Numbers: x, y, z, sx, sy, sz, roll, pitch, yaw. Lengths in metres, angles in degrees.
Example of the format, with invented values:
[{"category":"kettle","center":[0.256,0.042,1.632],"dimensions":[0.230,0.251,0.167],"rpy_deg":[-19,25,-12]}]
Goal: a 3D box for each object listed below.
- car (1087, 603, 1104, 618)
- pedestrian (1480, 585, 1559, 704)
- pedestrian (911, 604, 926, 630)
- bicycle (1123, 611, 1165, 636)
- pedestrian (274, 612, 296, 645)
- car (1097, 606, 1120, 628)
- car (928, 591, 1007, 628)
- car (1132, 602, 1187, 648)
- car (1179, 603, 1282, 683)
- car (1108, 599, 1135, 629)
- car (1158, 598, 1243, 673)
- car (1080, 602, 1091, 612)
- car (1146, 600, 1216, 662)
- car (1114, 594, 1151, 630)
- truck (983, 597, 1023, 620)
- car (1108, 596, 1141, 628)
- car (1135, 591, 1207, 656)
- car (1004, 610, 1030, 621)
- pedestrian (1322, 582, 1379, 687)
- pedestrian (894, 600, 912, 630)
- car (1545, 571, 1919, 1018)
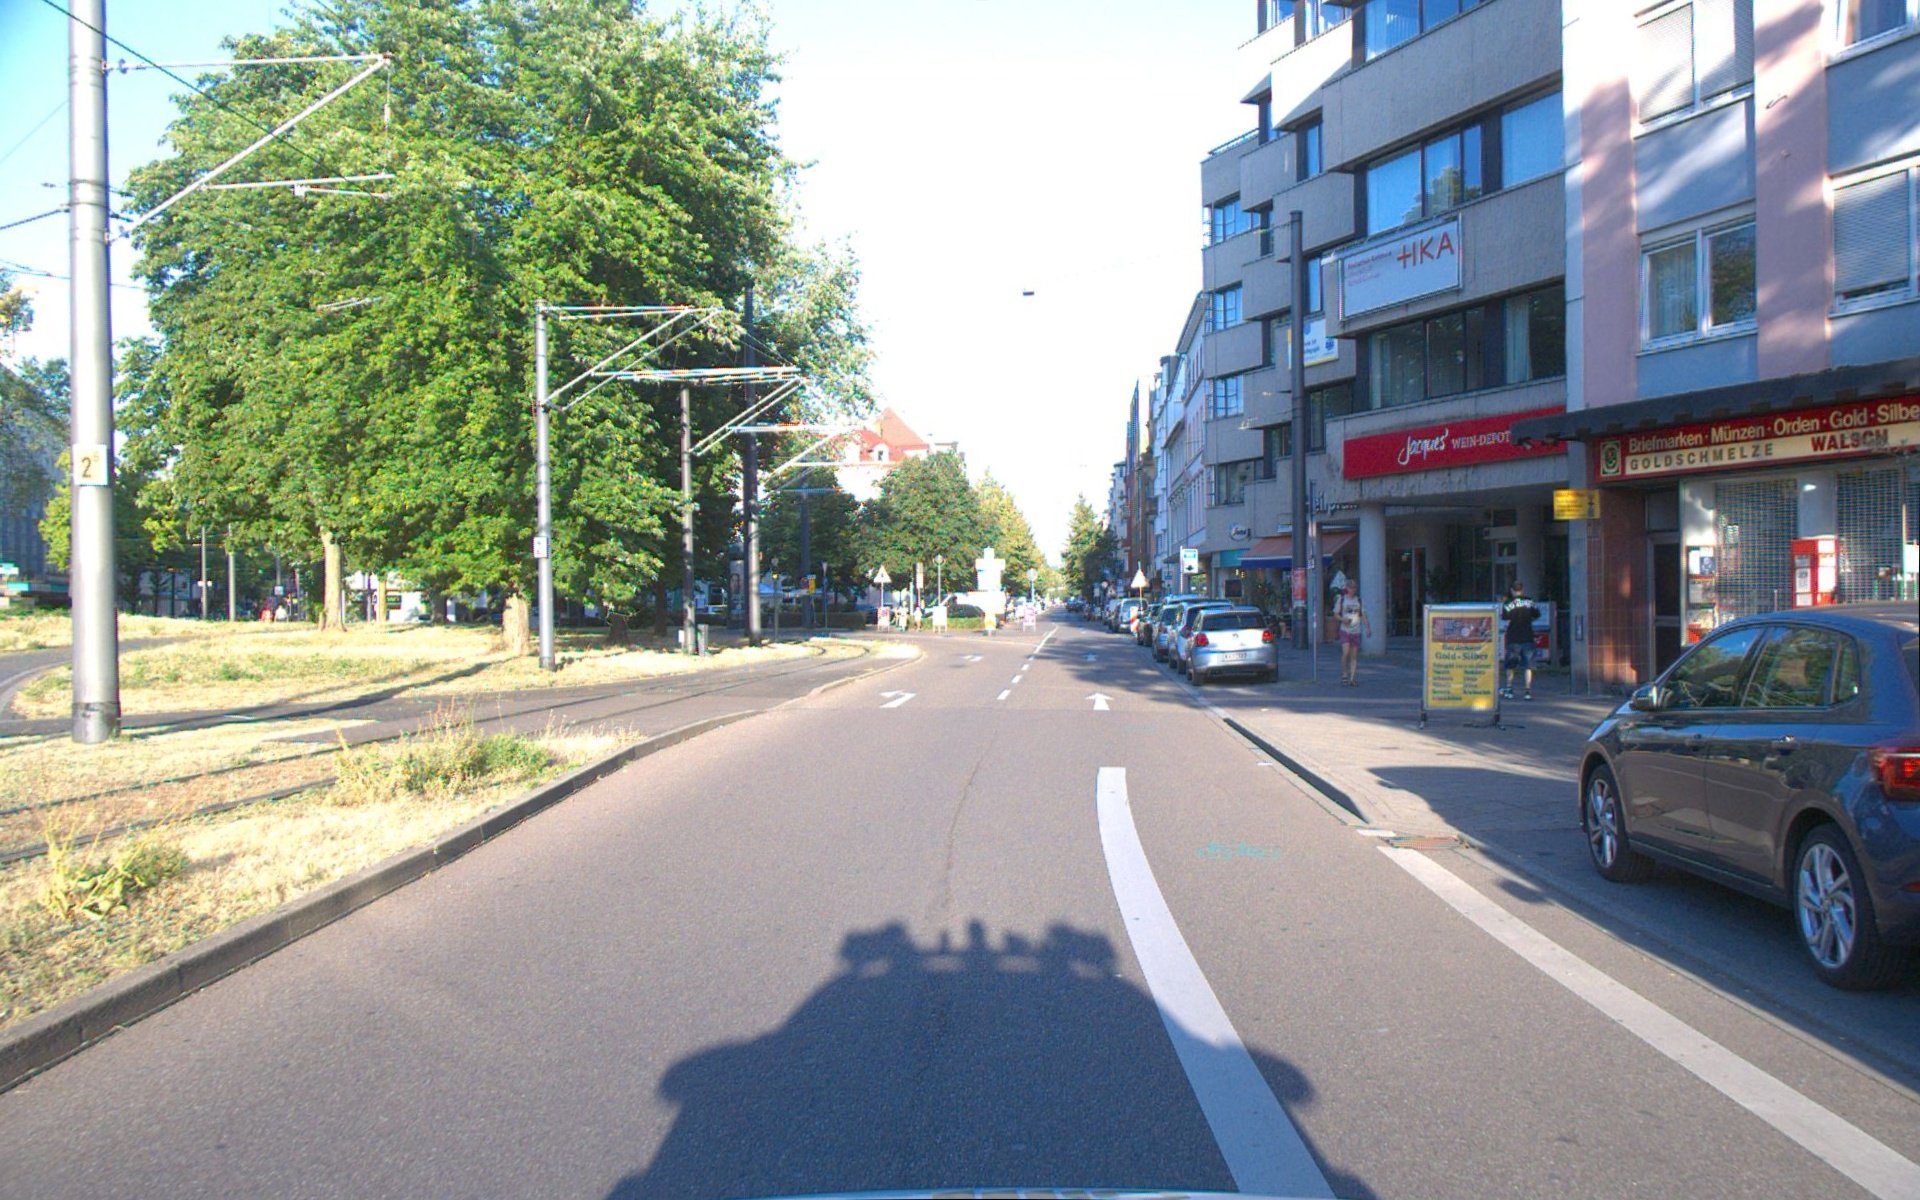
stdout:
[{"category":"car","center":[14.546,1.118,177.052],"dimensions":[1.544,1.570,3.397],"rpy_deg":[-3,-1,1]},{"category":"pedestrian","center":[8.043,0.625,23.792],"dimensions":[0.629,1.655,0.852],"rpy_deg":[-3,1,-20]},{"category":"pedestrian","center":[-2.201,0.893,88.383],"dimensions":[0.557,1.388,0.607],"rpy_deg":[0,0,-33]},{"category":"bicycle","center":[8.251,1.063,74.110],"dimensions":[1.753,1.007,0.541],"rpy_deg":[-3,1,27]},{"category":"pedestrian","center":[-40.009,1.684,97.982],"dimensions":[0.843,1.872,0.997],"rpy_deg":[0,2,4]},{"category":"car","center":[11.667,1.337,129.972],"dimensions":[1.645,1.588,4.003],"rpy_deg":[-2,0,6]},{"category":"car","center":[0.479,0.632,104.049],"dimensions":[4.536,2.290,2.187],"rpy_deg":[1,-1,-23]},{"category":"car","center":[6.933,0.853,57.687],"dimensions":[1.752,1.534,3.923],"rpy_deg":[0,0,5]},{"category":"car","center":[5.320,0.817,32.923],"dimensions":[1.747,1.482,4.002],"rpy_deg":[-1,-1,5]},{"category":"car","center":[10.143,0.861,104.042],"dimensions":[1.674,1.867,4.308],"rpy_deg":[0,0,5]},{"category":"car","center":[5.479,0.779,37.982],"dimensions":[1.551,1.618,3.669],"rpy_deg":[0,0,2]},{"category":"car","center":[15.873,0.880,209.269],"dimensions":[1.181,1.323,2.661],"rpy_deg":[0,-1,1]},{"category":"car","center":[5.851,0.788,44.132],"dimensions":[1.606,1.555,4.002],"rpy_deg":[0,0,4]},{"category":"car","center":[8.937,0.613,85.955],"dimensions":[1.755,1.823,4.093],"rpy_deg":[-1,-1,4]},{"category":"truck","center":[5.208,1.063,200.320],"dimensions":[4.837,2.661,2.001],"rpy_deg":[-1,-1,3]},{"category":"car","center":[9.077,0.650,91.305],"dimensions":[1.622,1.694,4.109],"rpy_deg":[0,0,3]},{"category":"car","center":[6.298,0.672,49.708],"dimensions":[1.746,1.836,4.402],"rpy_deg":[0,0,2]},{"category":"car","center":[8.067,2.193,233.108],"dimensions":[3.661,1.519,2.001],"rpy_deg":[-1,-1,3]},{"category":"pedestrian","center":[6.893,0.599,29.210],"dimensions":[0.629,1.817,0.852],"rpy_deg":[0,0,-20]},{"category":"pedestrian","center":[-3.033,0.783,87.911],"dimensions":[0.691,1.586,0.687],"rpy_deg":[0,0,-33]},{"category":"car","center":[4.203,0.681,7.789],"dimensions":[1.616,1.561,4.068],"rpy_deg":[0,0,2]}]
